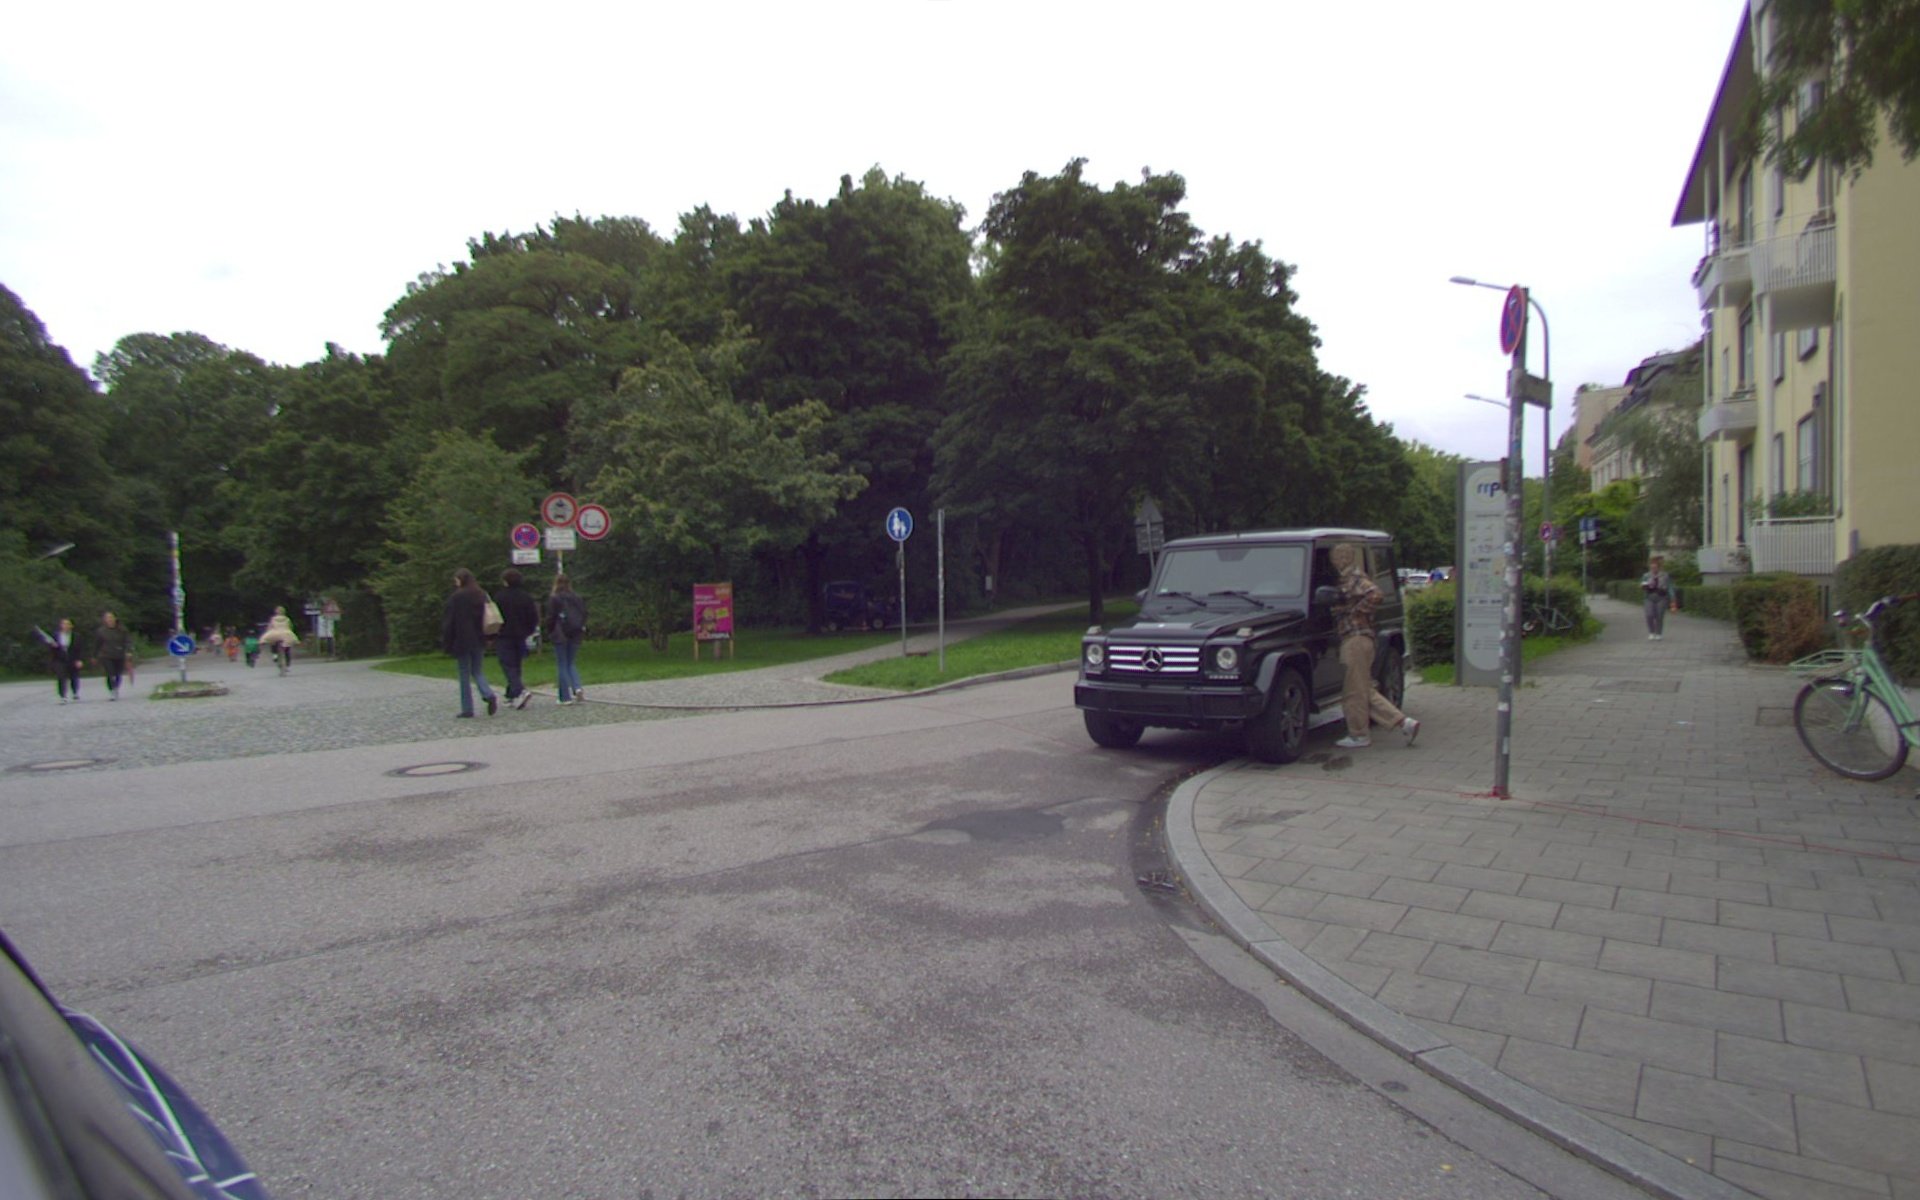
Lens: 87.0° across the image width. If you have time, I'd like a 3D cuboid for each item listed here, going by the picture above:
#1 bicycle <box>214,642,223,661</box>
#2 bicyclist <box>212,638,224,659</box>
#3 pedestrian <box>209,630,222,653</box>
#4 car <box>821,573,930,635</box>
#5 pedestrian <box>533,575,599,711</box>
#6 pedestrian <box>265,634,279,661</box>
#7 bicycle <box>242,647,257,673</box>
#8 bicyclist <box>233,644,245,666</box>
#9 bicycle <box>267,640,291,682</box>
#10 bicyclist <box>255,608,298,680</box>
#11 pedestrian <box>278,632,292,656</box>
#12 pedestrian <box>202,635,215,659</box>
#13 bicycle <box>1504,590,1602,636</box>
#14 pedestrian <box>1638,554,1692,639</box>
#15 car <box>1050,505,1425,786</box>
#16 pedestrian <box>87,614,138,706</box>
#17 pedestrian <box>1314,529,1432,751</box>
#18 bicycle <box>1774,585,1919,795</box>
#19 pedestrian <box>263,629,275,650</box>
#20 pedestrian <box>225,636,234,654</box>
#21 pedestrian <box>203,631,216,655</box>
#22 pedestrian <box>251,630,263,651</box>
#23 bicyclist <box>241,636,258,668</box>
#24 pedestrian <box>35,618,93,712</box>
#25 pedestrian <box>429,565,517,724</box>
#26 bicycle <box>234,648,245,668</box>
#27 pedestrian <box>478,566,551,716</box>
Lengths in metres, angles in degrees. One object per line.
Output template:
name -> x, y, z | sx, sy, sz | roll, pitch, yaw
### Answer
bicycle -> -48.005, 3.330, 65.504 | 0.457, 1.067, 1.765 | -1, 2, -37
bicyclist -> -48.044, 3.136, 65.514 | 0.555, 1.275, 0.763 | -1, 2, -37
pedestrian -> -56.102, 3.109, 76.288 | 0.675, 1.685, 0.775 | -4, -1, -37
car -> -3.221, 0.121, 38.231 | 3.907, 2.120, 1.908 | -2, 1, -7
pedestrian -> -5.405, 0.584, 13.860 | 0.624, 1.795, 0.803 | 0, -2, -37
pedestrian -> -44.817, 3.100, 65.914 | 0.675, 1.685, 0.775 | -4, -1, -37
bicycle -> -31.224, 2.638, 44.474 | 0.457, 1.068, 1.765 | -1, -2, -37
bicyclist -> -42.811, 3.263, 60.080 | 0.555, 1.275, 0.763 | -1, 2, -37
bicycle -> -18.194, 1.606, 27.022 | 0.475, 1.049, 1.951 | -1, -1, -35
bicyclist -> -18.113, 1.151, 26.832 | 0.843, 1.816, 0.768 | -3, 1, -37
pedestrian -> -48.988, 3.197, 73.455 | 0.675, 1.685, 0.775 | -4, -1, -37
pedestrian -> -53.149, 3.330, 71.585 | 0.675, 1.685, 0.775 | -4, -1, -37
bicycle -> 12.615, 0.269, 21.542 | 1.814, 0.954, 0.383 | -1, 1, 4
pedestrian -> 14.492, -0.084, 20.801 | 0.829, 1.689, 0.681 | 0, 2, 41
car -> 2.846, 0.267, 9.592 | 1.933, 2.016, 4.365 | 0, 2, 38
pedestrian -> -16.322, 1.148, 19.515 | 0.629, 1.685, 0.775 | -4, -1, -37
pedestrian -> 3.532, 0.329, 8.686 | 0.551, 1.812, 0.642 | -2, -1, -20
bicycle -> 5.734, 0.505, 5.950 | 0.577, 1.165, 1.945 | -3, 0, 11
pedestrian -> -58.589, 3.364, 85.827 | 0.731, 1.685, 0.923 | -4, -1, -37
pedestrian -> -53.477, 3.306, 74.083 | 0.464, 1.275, 0.449 | -1, 2, -37
pedestrian -> -55.159, 3.146, 74.372 | 0.675, 1.685, 0.775 | -4, -1, -37
pedestrian -> -59.240, 3.383, 85.316 | 0.731, 1.685, 0.923 | -4, -1, -37
bicyclist -> -31.224, 2.271, 44.450 | 0.555, 1.385, 0.763 | -1, -2, -37
pedestrian -> -16.818, 1.219, 19.017 | 0.675, 1.685, 0.775 | -4, -1, -37
pedestrian -> -6.000, 0.536, 12.450 | 0.739, 1.847, 1.117 | 0, -2, -37
bicycle -> -42.819, 3.443, 60.100 | 0.457, 1.067, 1.765 | -1, 2, -37
pedestrian -> -5.942, 0.533, 13.482 | 0.697, 1.918, 0.805 | 0, -2, -37
